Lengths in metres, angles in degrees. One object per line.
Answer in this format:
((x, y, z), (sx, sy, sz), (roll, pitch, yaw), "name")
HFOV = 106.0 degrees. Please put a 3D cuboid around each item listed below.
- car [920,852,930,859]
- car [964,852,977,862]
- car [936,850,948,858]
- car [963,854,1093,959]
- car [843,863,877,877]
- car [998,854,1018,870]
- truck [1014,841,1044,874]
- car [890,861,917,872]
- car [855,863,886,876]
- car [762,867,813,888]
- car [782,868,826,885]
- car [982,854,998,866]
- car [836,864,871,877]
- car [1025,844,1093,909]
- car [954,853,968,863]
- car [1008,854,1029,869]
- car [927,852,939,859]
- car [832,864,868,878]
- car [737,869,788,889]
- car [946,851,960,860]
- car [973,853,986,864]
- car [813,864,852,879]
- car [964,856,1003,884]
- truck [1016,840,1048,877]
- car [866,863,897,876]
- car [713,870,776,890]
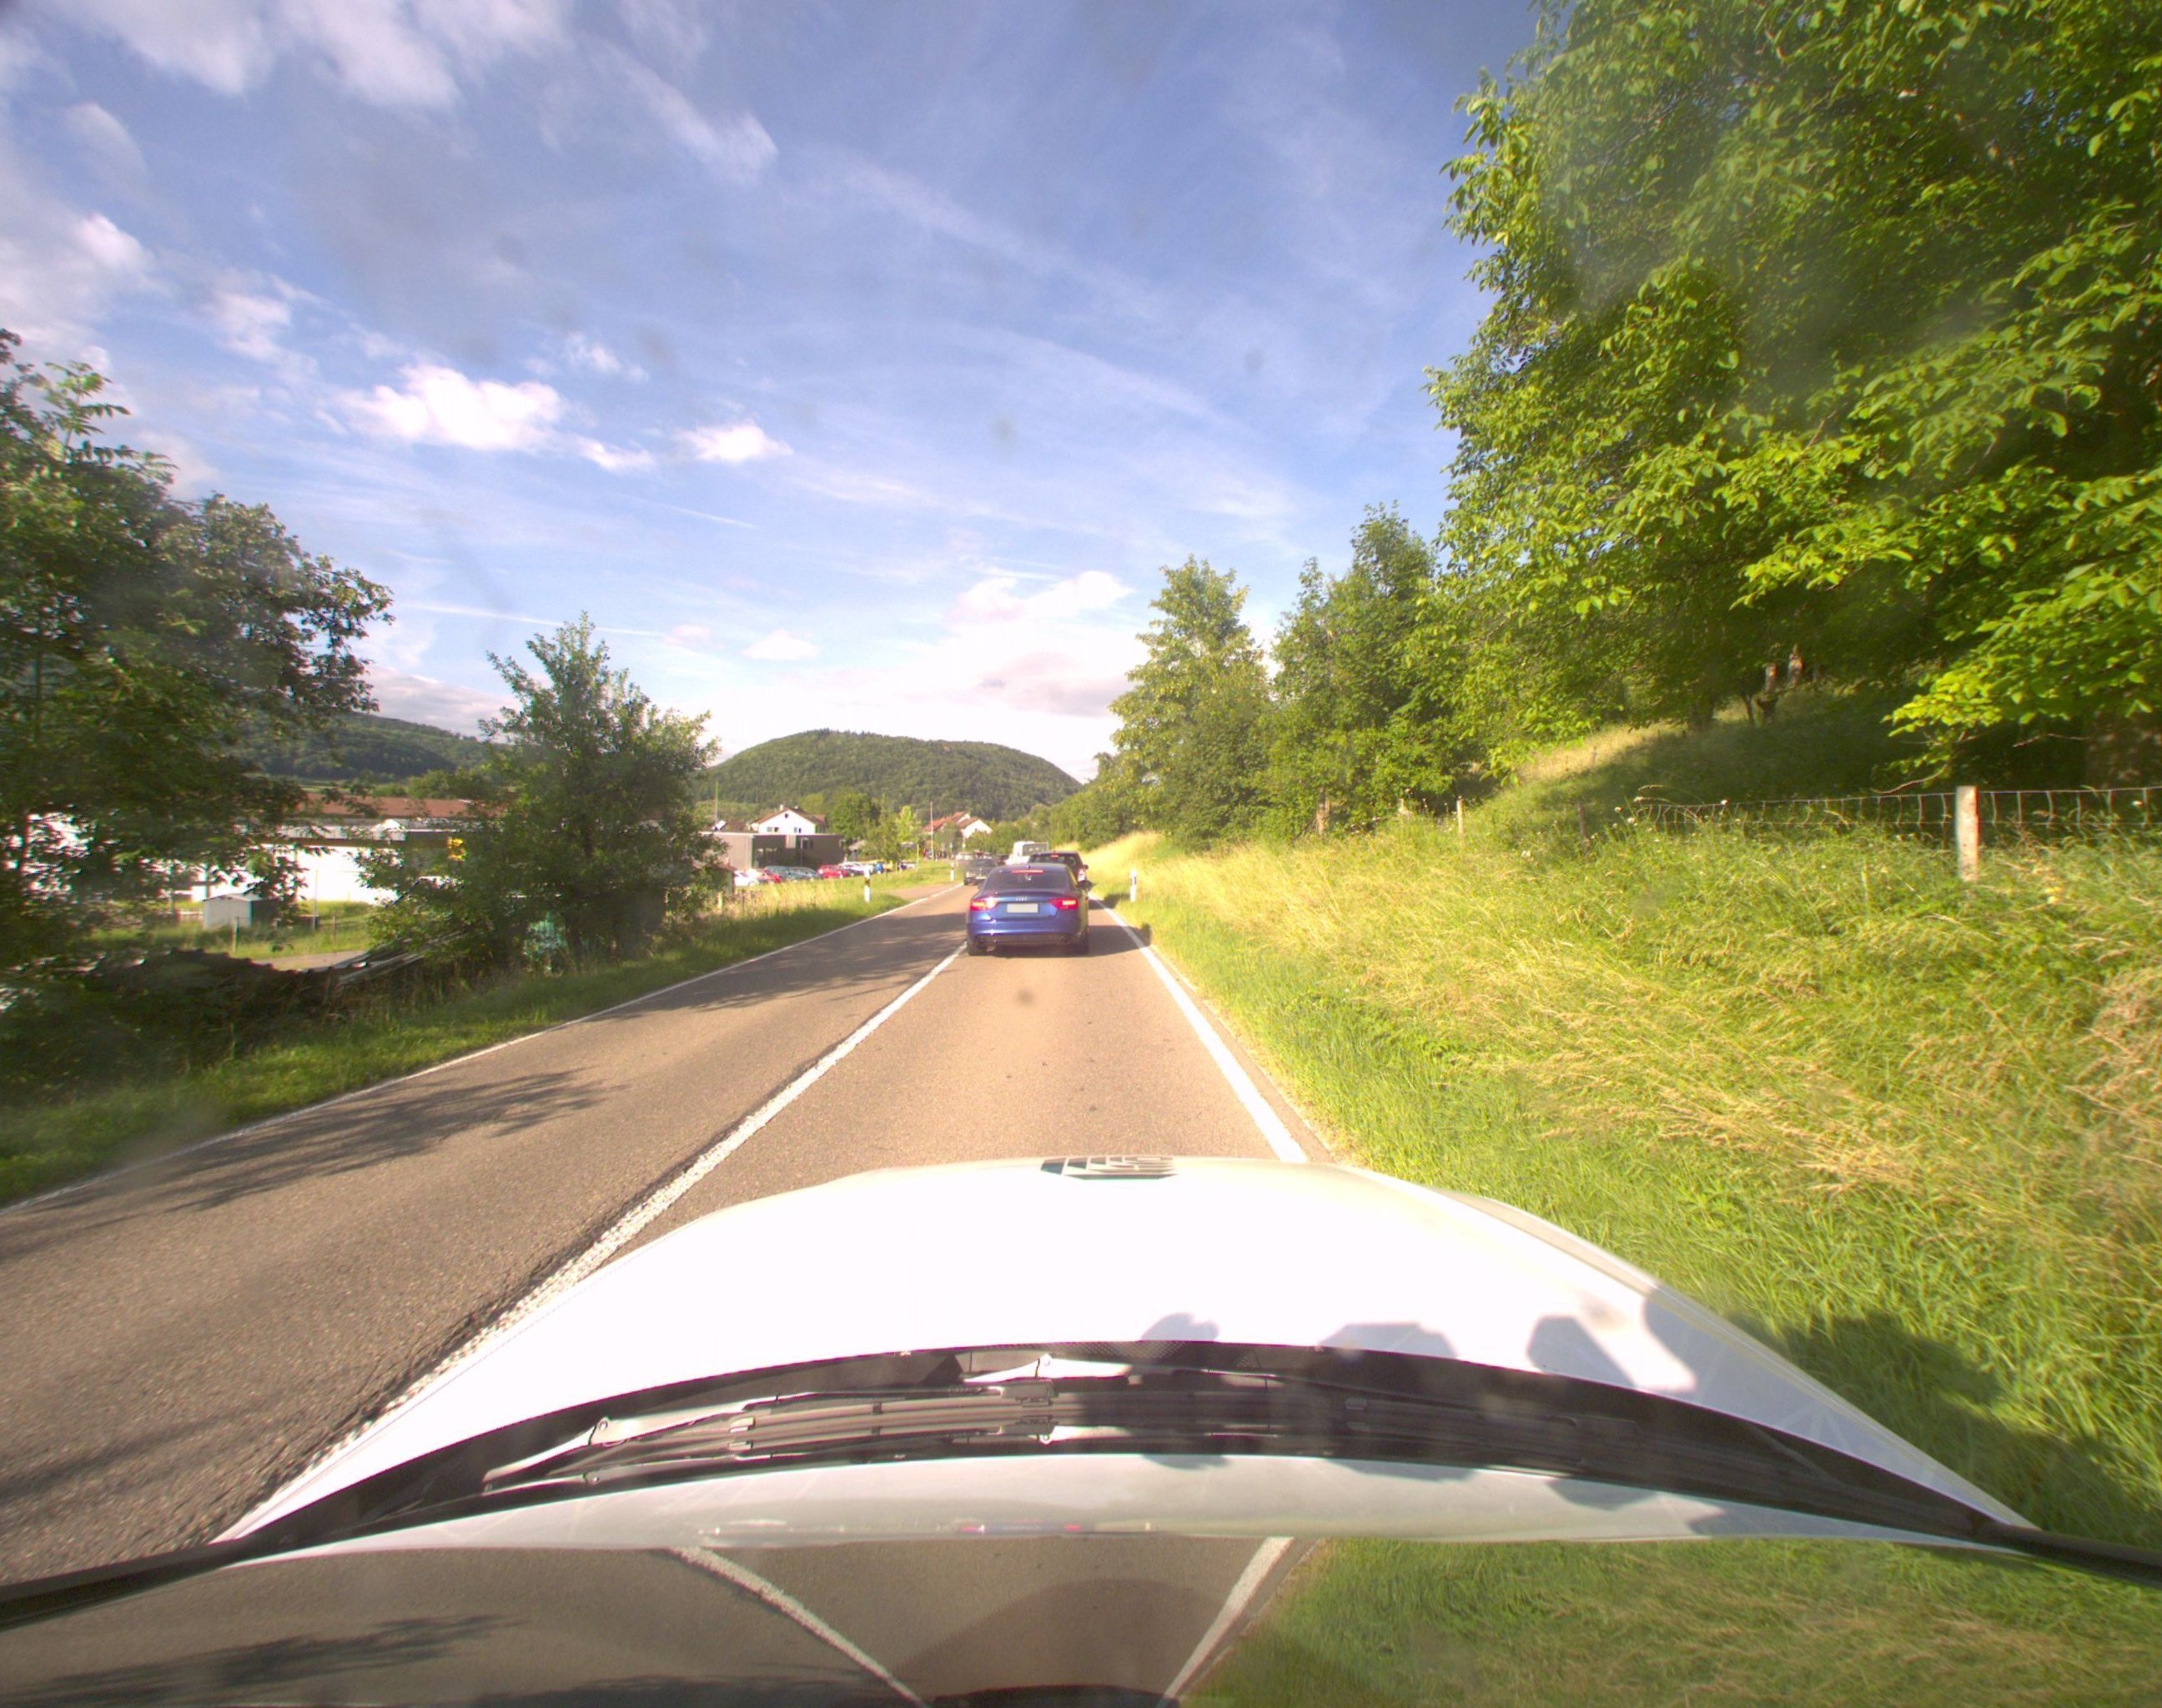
((-37.088, 0.333, 193.749), (1.852, 1.712, 3.973), (-1, 0, -20), "car")
((-18.707, 0.544, 137.730), (1.846, 1.712, 3.985), (-1, 0, -11), "car")
((-29.857, 0.085, 174.395), (1.852, 1.712, 3.973), (-1, 0, -20), "car")
((-0.706, 0.745, 13.249), (1.748, 1.430, 3.847), (-1, 0, 1), "car")
((-29.192, 2.130, 107.739), (3.980, 1.711, 1.997), (-1, -1, -5), "car")
((-8.185, 0.870, 90.947), (1.846, 1.712, 3.985), (-1, 0, -11), "car")
((-4.405, 0.281, 68.050), (2.227, 2.570, 6.692), (-1, 0, -6), "truck")
((-28.462, 1.993, 130.594), (3.980, 1.579, 1.750), (-1, -1, -5), "car")
((-29.321, 2.171, 113.521), (3.980, 1.711, 1.997), (-1, -1, -5), "car")
((-29.323, 2.304, 81.445), (4.398, 2.008, 1.997), (-1, -1, -5), "car")
((-29.042, 2.373, 85.490), (3.980, 1.711, 1.997), (-1, -1, -5), "car")
((-13.398, 0.876, 119.724), (1.847, 1.712, 3.983), (-1, 0, -12), "car")
((-29.187, 2.108, 104.455), (3.980, 1.711, 1.997), (-1, -1, -5), "car")
((-0.598, 0.601, 23.197), (1.749, 1.681, 3.844), (-1, 0, -1), "car")
((-21.780, 0.679, 147.941), (1.852, 1.712, 3.973), (-1, 0, -20), "car")
((-6.233, 0.756, 80.975), (1.845, 1.482, 3.987), (-1, 0, -9), "car")
((-30.050, 0.294, 164.999), (1.710, 1.430, 4.022), (-1, 0, -21), "car")
((-28.592, 2.075, 100.823), (3.980, 1.711, 1.997), (-1, -1, -5), "car")
((-29.522, 2.312, 75.623), (3.980, 1.711, 1.997), (-1, -1, -5), "car")
((-25.170, 0.261, 160.049), (1.852, 1.712, 3.973), (-1, 0, -20), "car")
((-15.991, 0.719, 128.529), (1.846, 1.712, 3.985), (-1, 0, -11), "car")
((-29.343, 2.054, 96.216), (3.980, 1.711, 1.997), (-1, -1, -5), "car")
((-5.035, 0.824, 42.559), (1.590, 1.354, 4.200), (-1, 0, -2), "car")
((-3.598, 0.370, 60.240), (2.225, 2.570, 6.096), (-1, 0, -3), "truck")
((-28.457, 2.177, 116.060), (3.980, 1.711, 1.997), (-1, -1, -5), "car")
((-29.963, 2.297, 72.573), (4.722, 1.711, 1.997), (-1, -1, -5), "car")
